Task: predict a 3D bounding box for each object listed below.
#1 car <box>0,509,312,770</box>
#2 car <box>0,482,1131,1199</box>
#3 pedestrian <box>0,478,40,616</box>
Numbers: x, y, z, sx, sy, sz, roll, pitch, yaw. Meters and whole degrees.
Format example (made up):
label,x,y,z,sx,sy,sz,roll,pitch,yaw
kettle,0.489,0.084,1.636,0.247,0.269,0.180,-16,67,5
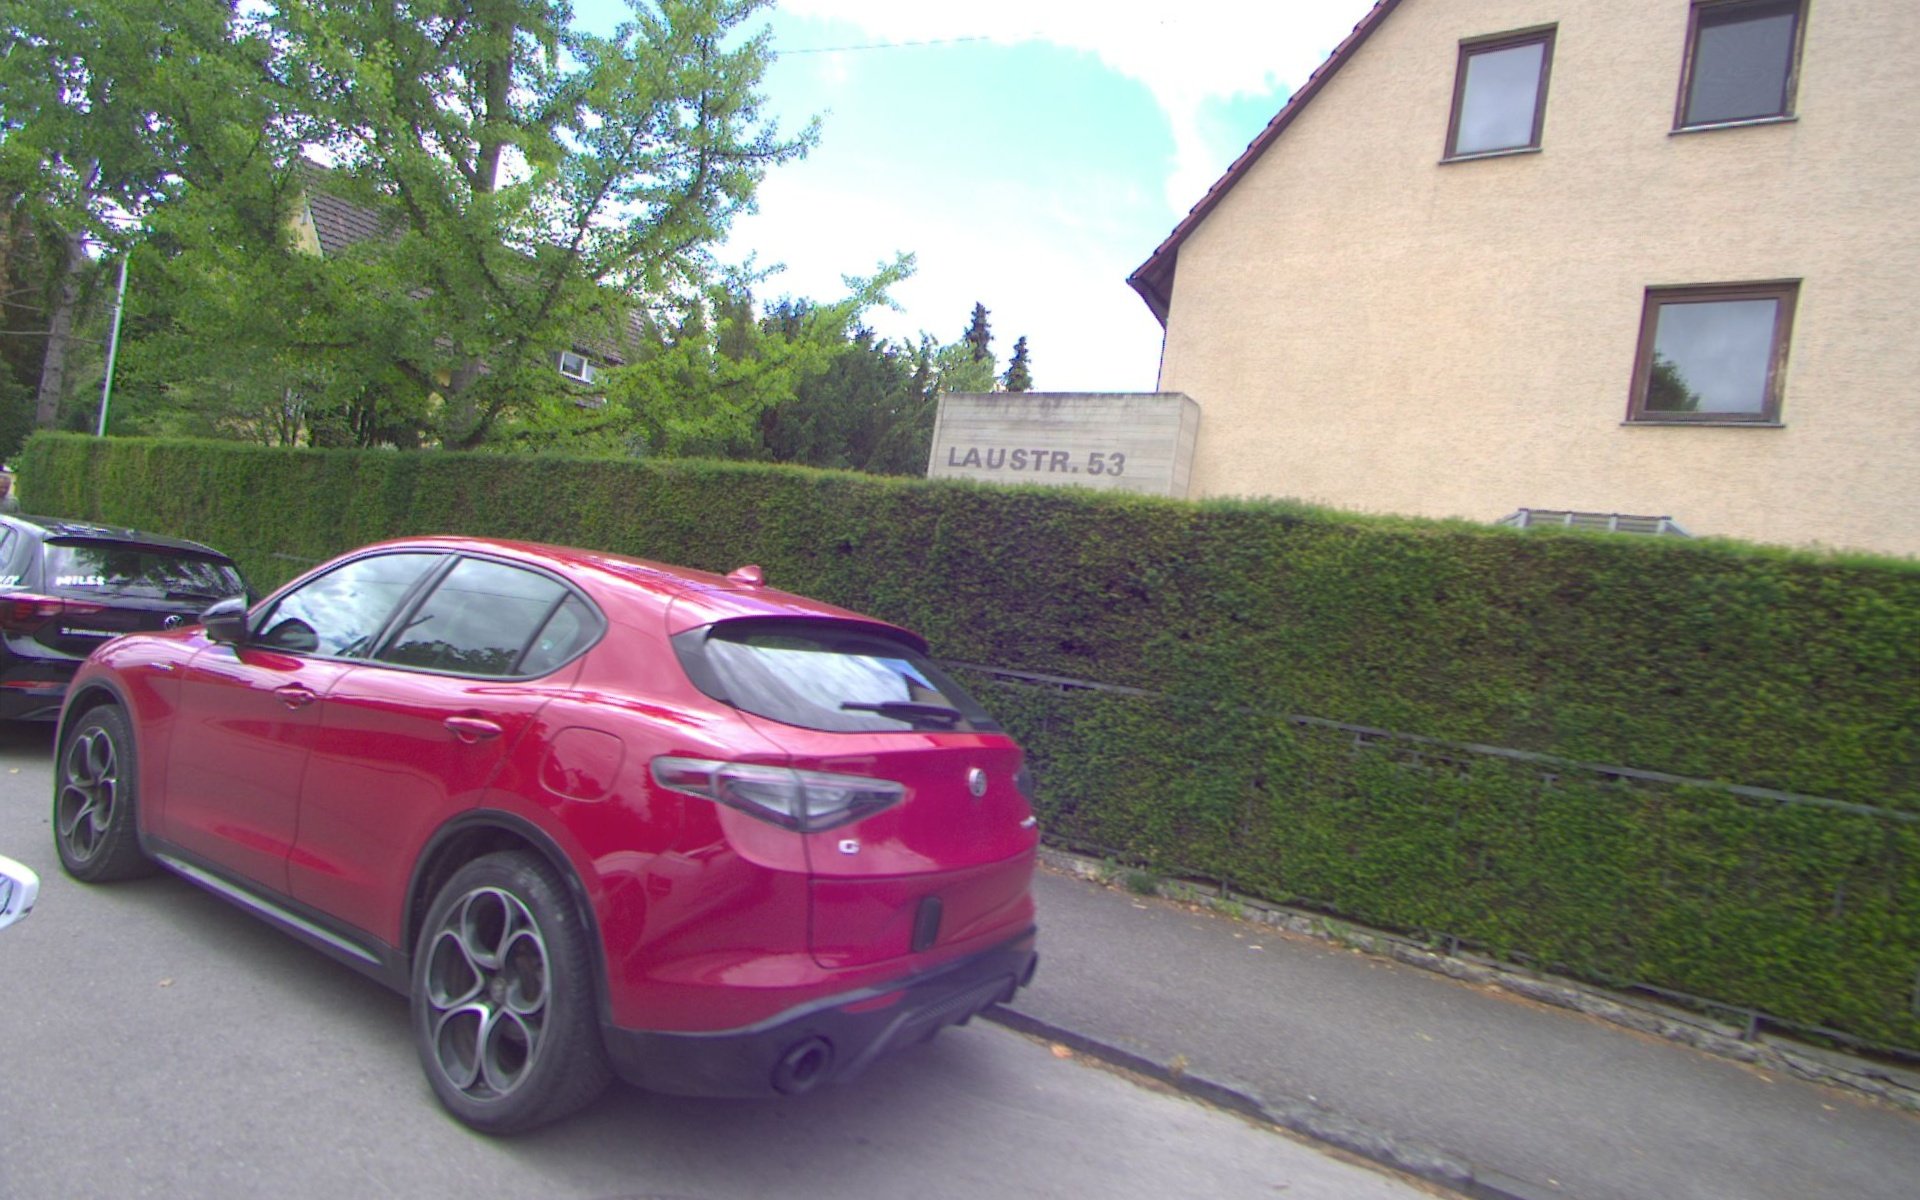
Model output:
label,x,y,z,sx,sy,sz,roll,pitch,yaw
car,-6.764,0.101,7.300,3.984,1.424,1.682,7,0,29
car,-1.913,0.555,4.195,4.687,1.600,1.891,7,0,32
pedestrian,-12.533,-0.719,12.869,0.901,1.719,0.671,7,0,22
